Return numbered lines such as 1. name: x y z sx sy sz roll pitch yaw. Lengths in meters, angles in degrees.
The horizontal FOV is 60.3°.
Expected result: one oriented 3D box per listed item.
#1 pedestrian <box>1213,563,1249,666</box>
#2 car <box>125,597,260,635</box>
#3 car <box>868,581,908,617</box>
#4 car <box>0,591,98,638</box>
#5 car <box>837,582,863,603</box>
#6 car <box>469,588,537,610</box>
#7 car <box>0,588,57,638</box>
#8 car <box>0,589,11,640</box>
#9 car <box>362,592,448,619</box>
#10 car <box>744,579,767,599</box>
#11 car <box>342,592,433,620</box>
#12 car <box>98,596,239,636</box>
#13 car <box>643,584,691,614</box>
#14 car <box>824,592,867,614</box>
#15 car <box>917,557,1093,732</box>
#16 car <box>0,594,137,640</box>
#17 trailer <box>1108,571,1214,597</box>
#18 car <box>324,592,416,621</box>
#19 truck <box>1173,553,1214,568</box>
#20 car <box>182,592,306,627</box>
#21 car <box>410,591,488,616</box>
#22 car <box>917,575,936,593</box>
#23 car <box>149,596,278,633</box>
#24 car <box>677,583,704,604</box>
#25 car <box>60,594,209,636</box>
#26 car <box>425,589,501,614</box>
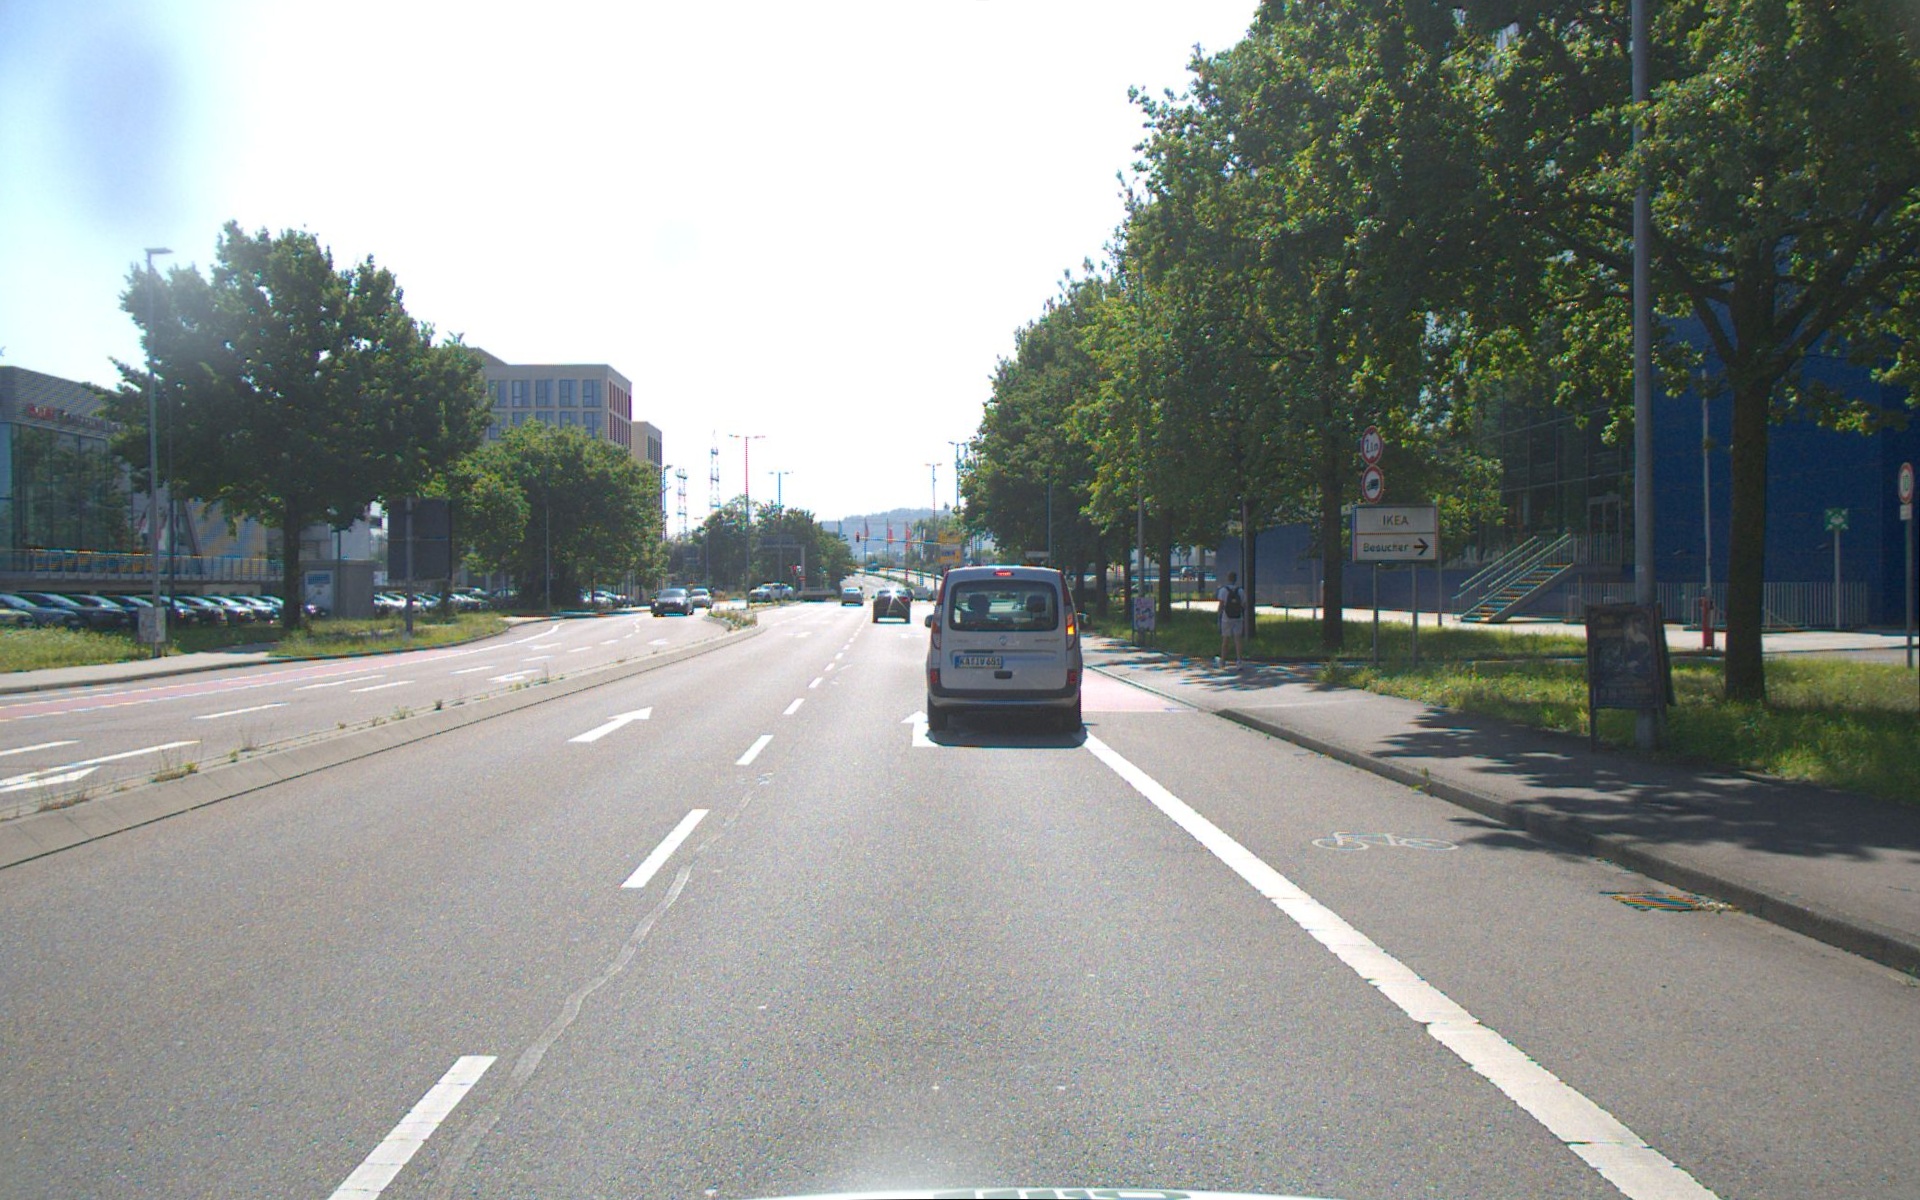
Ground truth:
1. pedestrian: 5.039 0.262 30.759 0.524 1.874 0.727 -1 0 -2
2. car: -29.027 0.580 62.608 4.178 1.374 1.954 0 0 0
3. car: -3.461 -0.087 80.571 1.770 1.668 4.458 -1 1 0
4. car: -28.408 0.429 49.489 4.178 1.374 1.954 0 0 0
5. car: -9.303 -0.615 140.150 1.953 1.713 3.999 -1 0 -1
6. car: -29.850 -0.066 107.994 3.906 1.400 1.923 -1 0 -2
7. car: -28.278 0.369 46.966 4.178 1.374 1.954 0 0 0
8. car: -28.065 0.407 44.277 4.178 1.374 1.954 0 0 0
9. car: -29.351 0.283 87.572 3.906 1.400 1.923 -1 0 -2
10. car: -19.537 -1.036 158.237 1.954 1.864 4.933 -1 0 -4
11. car: -29.381 0.294 84.903 3.960 1.400 2.024 -1 0 -2
12. car: -28.713 0.579 60.081 4.178 1.374 1.954 0 0 0
13. car: -15.956 -0.077 90.172 1.804 1.489 4.998 -3 0 -2
14. car: -11.336 0.271 163.823 3.923 2.048 1.992 1 2 -17
15. car: 0.611 0.459 19.800 1.865 1.861 4.182 -1 0 3
16. car: -28.506 0.523 52.064 4.178 1.374 1.954 0 0 0
17. trailer: 22.475 -1.767 185.530 11.625 2.512 2.001 2 1 2
18. car: -29.299 0.312 82.222 3.906 1.400 1.865 -1 0 -2
19. truck: 34.969 -5.921 247.481 5.788 2.048 2.000 2 1 0
20. car: -29.080 0.369 67.261 4.178 1.374 1.954 0 0 0
21. car: -29.413 0.184 95.296 3.906 1.400 1.923 -1 0 -2
22. car: -3.549 -1.752 175.503 1.723 1.789 3.600 2 2 -5
23. car: -29.293 0.559 64.993 4.178 1.374 1.954 0 0 0
24. car: -20.230 -0.494 124.227 1.621 1.489 3.547 -2 1 -5
25. car: -28.651 0.510 57.504 4.178 1.374 1.954 0 0 0
26. car: -29.514 0.091 98.273 3.906 1.400 1.923 -1 0 -2
